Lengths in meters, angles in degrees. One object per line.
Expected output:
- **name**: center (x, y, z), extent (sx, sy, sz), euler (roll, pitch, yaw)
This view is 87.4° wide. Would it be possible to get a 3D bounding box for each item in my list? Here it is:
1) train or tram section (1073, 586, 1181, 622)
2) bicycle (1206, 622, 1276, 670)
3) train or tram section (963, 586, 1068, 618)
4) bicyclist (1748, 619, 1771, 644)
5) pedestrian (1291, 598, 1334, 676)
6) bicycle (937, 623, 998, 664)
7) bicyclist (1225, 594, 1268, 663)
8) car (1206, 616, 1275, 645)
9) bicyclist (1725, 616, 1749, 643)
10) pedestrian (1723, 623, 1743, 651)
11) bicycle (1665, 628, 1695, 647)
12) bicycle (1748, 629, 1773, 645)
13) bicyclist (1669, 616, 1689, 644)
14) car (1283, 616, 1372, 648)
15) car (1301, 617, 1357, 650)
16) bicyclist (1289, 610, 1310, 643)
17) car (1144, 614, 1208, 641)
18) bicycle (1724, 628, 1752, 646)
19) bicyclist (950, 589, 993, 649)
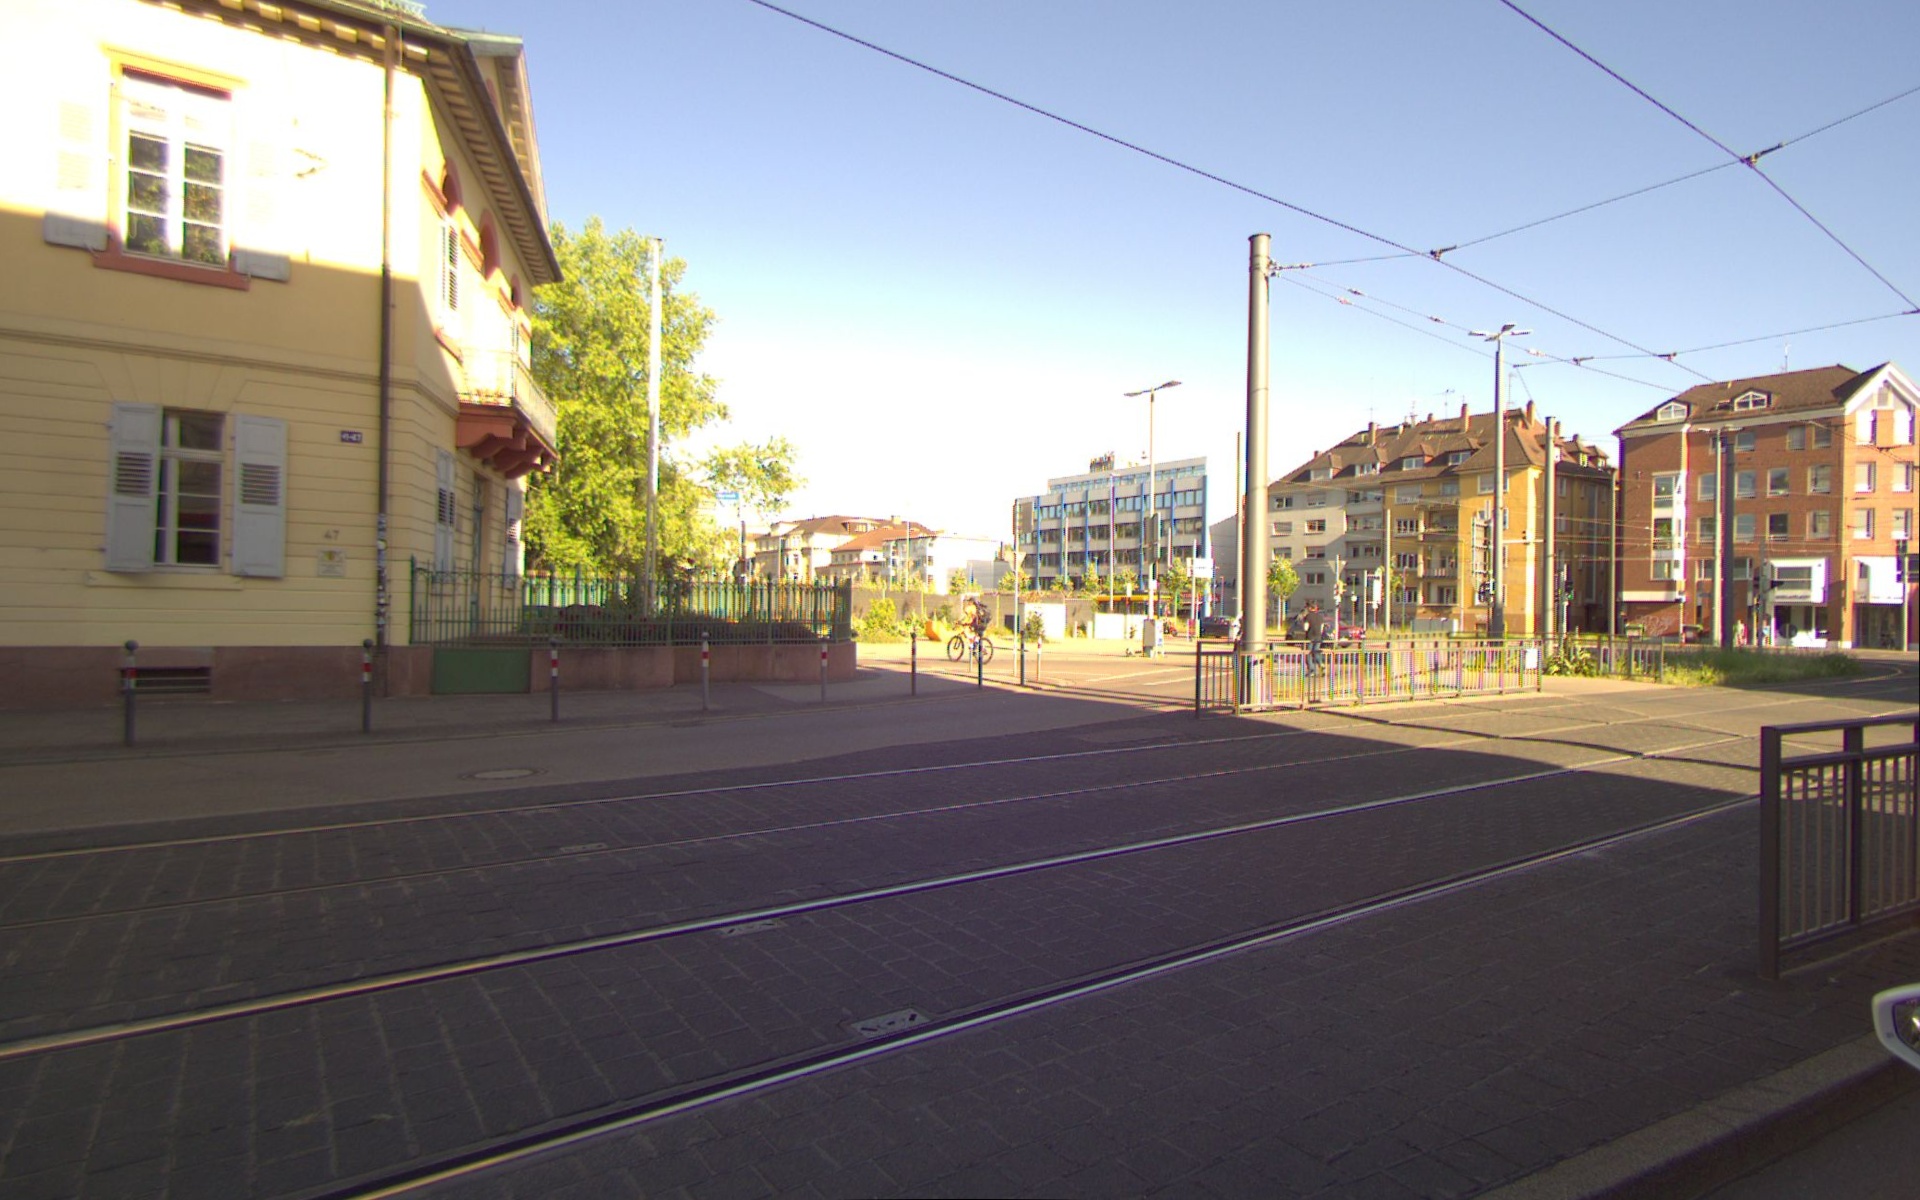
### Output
- **train or tram section**: center (15.939, 0.351, 97.044), extent (2.782, 3.172, 11.137), euler (2, 0, -40)
- **bicycle**: center (7.401, 1.215, 26.439), extent (1.828, 1.238, 0.483), euler (2, 0, -22)
- **train or tram section**: center (5.826, 0.107, 109.268), extent (2.713, 3.172, 13.550), euler (2, 0, -41)
- **bicyclist**: center (50.258, 1.975, 63.151), extent (0.958, 1.490, 0.702), euler (2, 0, -22)
- **pedestrian**: center (7.941, 0.826, 22.664), extent (0.759, 1.703, 0.593), euler (2, 0, 5)
- **bicycle**: center (0.199, 1.157, 26.747), extent (1.570, 1.007, 0.403), euler (2, 0, 19)
- **bicyclist**: center (7.567, 0.743, 26.511), extent (0.742, 1.783, 0.755), euler (2, 0, -22)
- **car**: center (17.998, 1.937, 64.574), extent (1.762, 1.694, 3.955), euler (2, 0, -39)
- **bicyclist**: center (45.561, 1.724, 58.879), extent (0.688, 1.523, 0.894), euler (2, 0, -30)
- **pedestrian**: center (51.555, 2.478, 67.015), extent (0.737, 1.845, 0.781), euler (2, 0, -28)
- **bicycle**: center (39.732, 2.062, 55.425), extent (2.220, 0.984, 0.444), euler (2, 0, -31)
- **bicycle**: center (50.281, 2.333, 63.082), extent (1.669, 0.994, 0.403), euler (2, 0, -22)
- **bicyclist**: center (39.607, 1.641, 55.342), extent (0.688, 1.523, 0.630), euler (2, 0, -30)
- **car**: center (21.863, 1.881, 59.891), extent (1.984, 1.723, 4.545), euler (2, 0, -41)
- **car**: center (19.168, 1.716, 52.327), extent (1.612, 1.546, 3.867), euler (2, 0, 3)
- **bicyclist**: center (19.768, 1.542, 58.486), extent (0.785, 1.832, 0.892), euler (2, 0, -42)
- **car**: center (14.739, 1.866, 68.565), extent (1.895, 1.708, 3.916), euler (2, 0, -41)
- **bicycle**: center (45.599, 2.167, 58.860), extent (2.220, 0.984, 0.521), euler (2, 0, -31)
- **bicyclist**: center (0.298, 0.505, 26.713), extent (1.023, 1.542, 0.392), euler (2, 0, 19)
